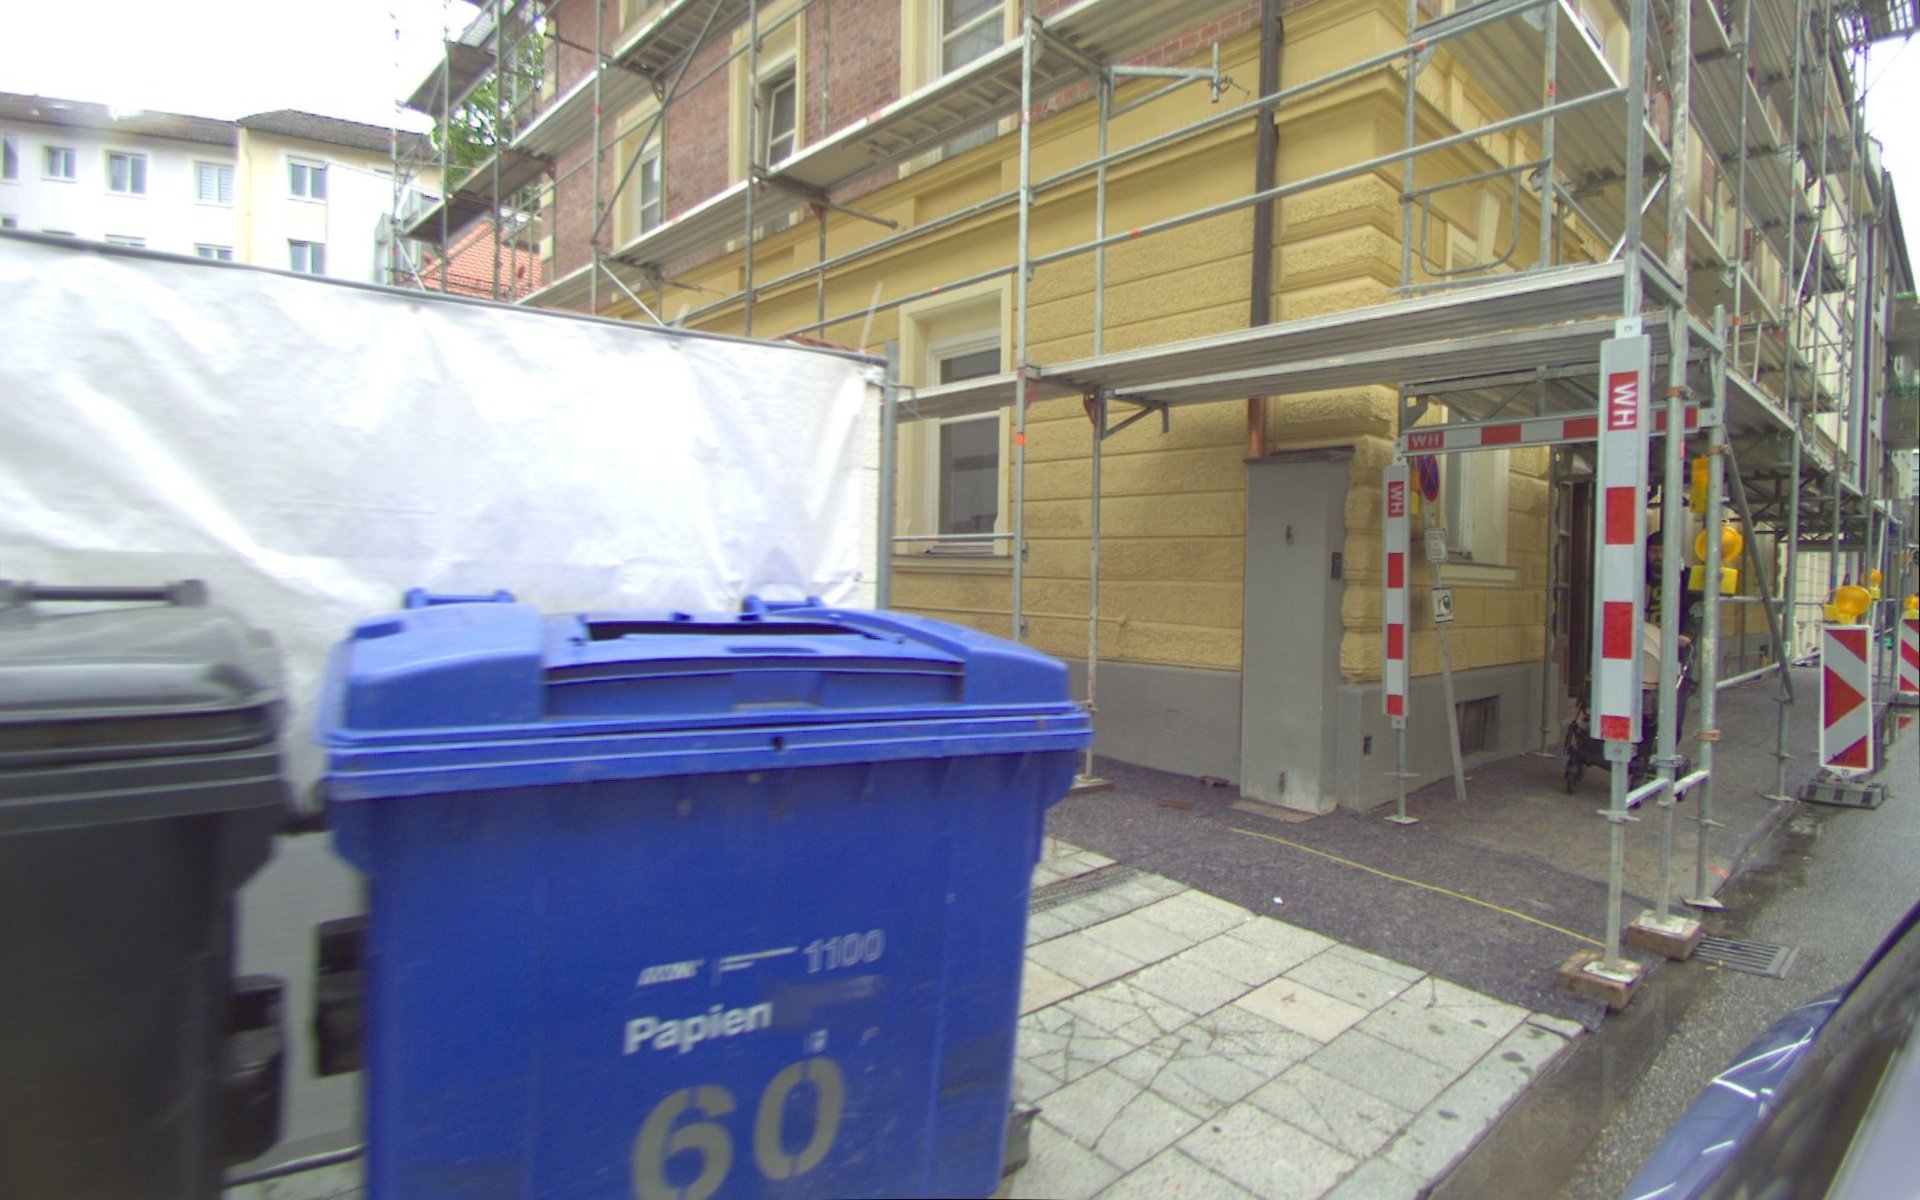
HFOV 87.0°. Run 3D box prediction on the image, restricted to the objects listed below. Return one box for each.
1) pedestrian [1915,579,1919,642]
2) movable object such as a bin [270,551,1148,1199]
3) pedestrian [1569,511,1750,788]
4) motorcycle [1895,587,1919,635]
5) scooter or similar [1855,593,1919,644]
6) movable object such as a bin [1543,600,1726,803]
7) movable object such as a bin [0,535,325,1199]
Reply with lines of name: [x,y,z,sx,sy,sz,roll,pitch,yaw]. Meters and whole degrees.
pedestrian: [26.332,0.287,27.336,0.576,1.707,0.660,1,1,-38]
movable object such as a bin: [-0.530,0.636,1.982,1.291,1.362,1.092,1,4,-31]
pedestrian: [4.925,0.299,7.125,0.972,1.773,0.730,0,5,-44]
motorcycle: [30.751,0.354,32.473,1.900,1.439,0.807,0,7,-43]
scooter or similar: [24.012,0.487,25.977,1.576,1.197,0.496,3,3,-3]
movable object such as a bin: [4.478,0.619,6.716,0.972,1.154,0.730,0,6,-45]
movable object such as a bin: [-1.513,0.619,1.253,1.149,1.361,1.131,1,5,-35]
